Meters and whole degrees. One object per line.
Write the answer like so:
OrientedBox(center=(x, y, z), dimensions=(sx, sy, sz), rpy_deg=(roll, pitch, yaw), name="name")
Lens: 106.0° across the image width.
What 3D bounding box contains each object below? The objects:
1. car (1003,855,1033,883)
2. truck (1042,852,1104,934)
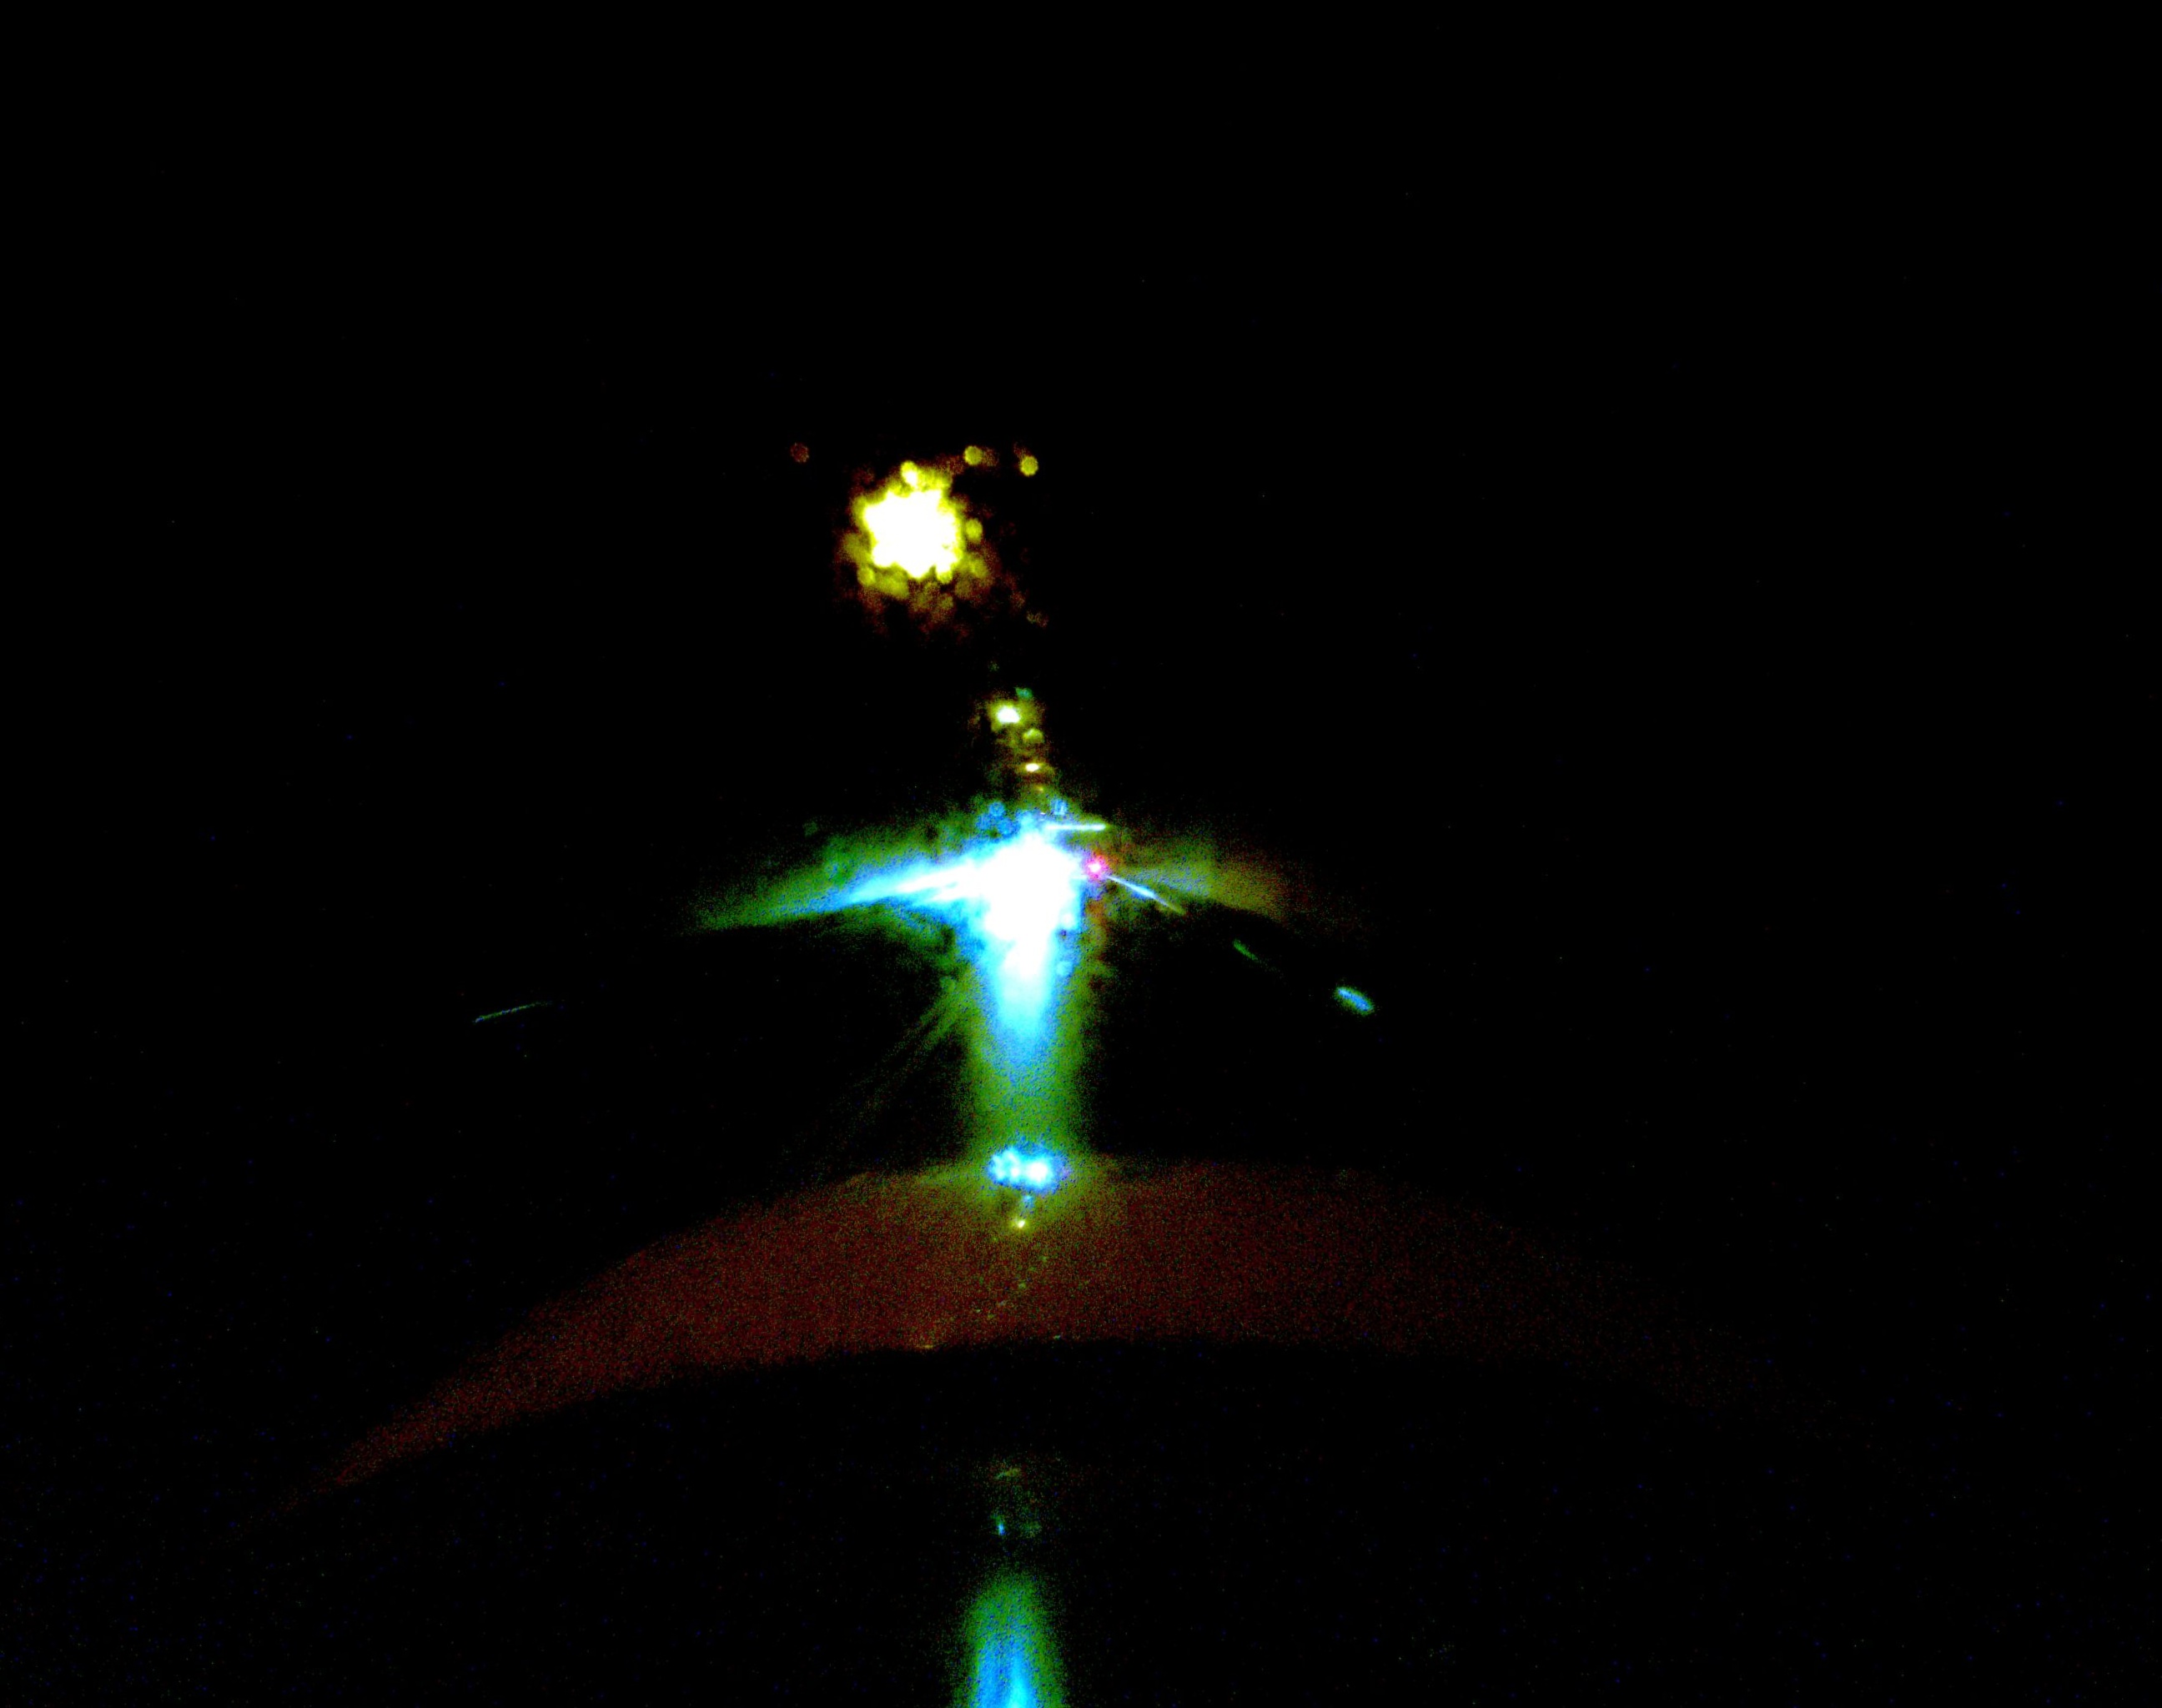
OrientedBox(center=(-3.731, 0.842, 48.309), dimensions=(1.618, 1.517, 4.131), rpy_deg=(-2, 0, -4), name="car")
OrientedBox(center=(-0.292, 1.433, 33.526), dimensions=(2.255, 3.011, 7.413), rpy_deg=(0, 0, 0), name="truck")
